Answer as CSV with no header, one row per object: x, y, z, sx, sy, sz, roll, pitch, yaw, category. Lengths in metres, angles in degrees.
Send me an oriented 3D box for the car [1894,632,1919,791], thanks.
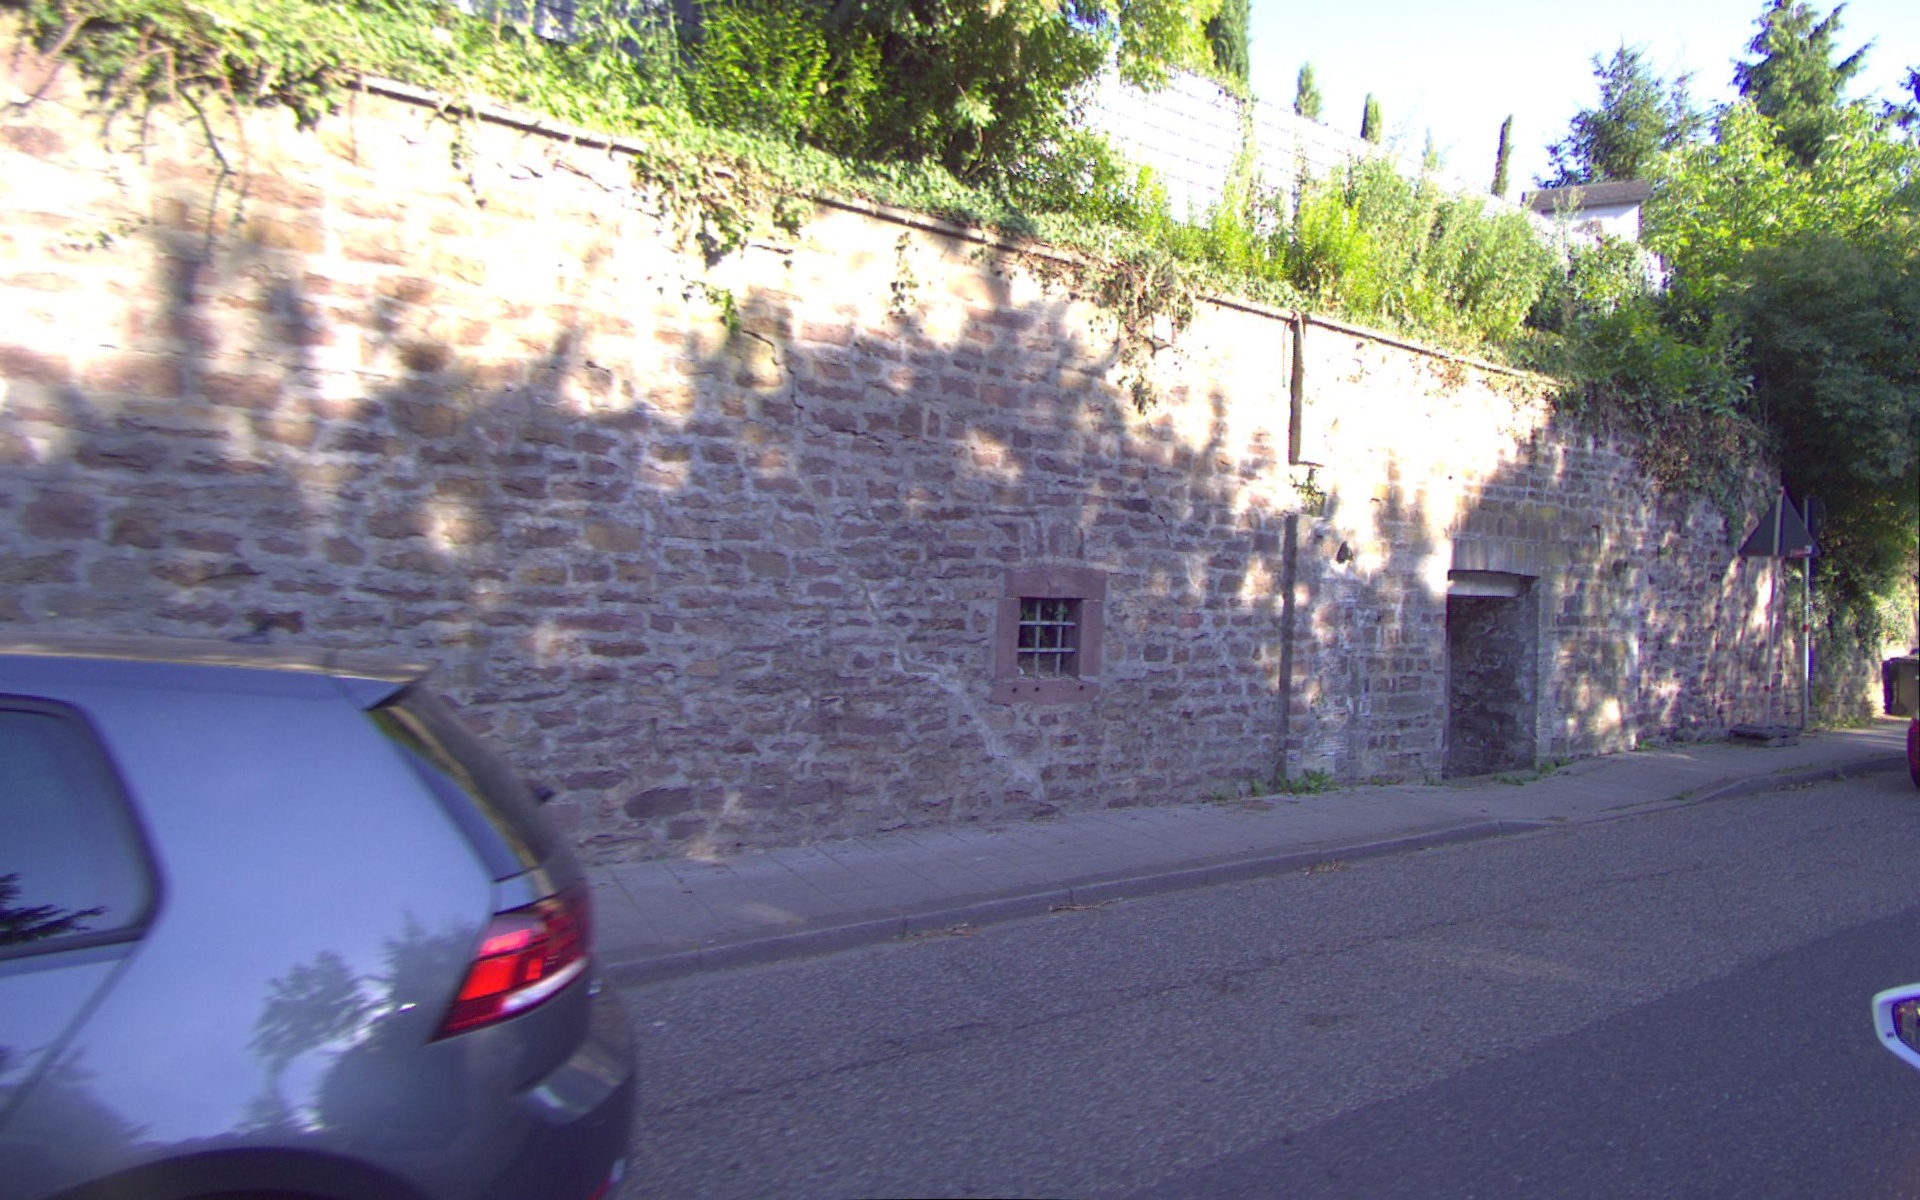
10.785,1.055,9.771,3.527,1.485,1.543,1,-2,-31,car

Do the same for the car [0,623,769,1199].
-2.414,0.749,1.454,3.886,1.429,1.640,1,-1,-32,car

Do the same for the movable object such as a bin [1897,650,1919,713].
15.715,1.334,16.337,0.434,0.998,0.570,2,1,-33,movable object such as a bin

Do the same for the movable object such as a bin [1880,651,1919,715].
14.942,1.301,15.806,0.434,0.950,0.580,2,1,-33,movable object such as a bin

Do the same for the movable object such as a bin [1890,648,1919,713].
15.325,1.285,16.049,0.434,0.998,0.570,2,1,-33,movable object such as a bin
